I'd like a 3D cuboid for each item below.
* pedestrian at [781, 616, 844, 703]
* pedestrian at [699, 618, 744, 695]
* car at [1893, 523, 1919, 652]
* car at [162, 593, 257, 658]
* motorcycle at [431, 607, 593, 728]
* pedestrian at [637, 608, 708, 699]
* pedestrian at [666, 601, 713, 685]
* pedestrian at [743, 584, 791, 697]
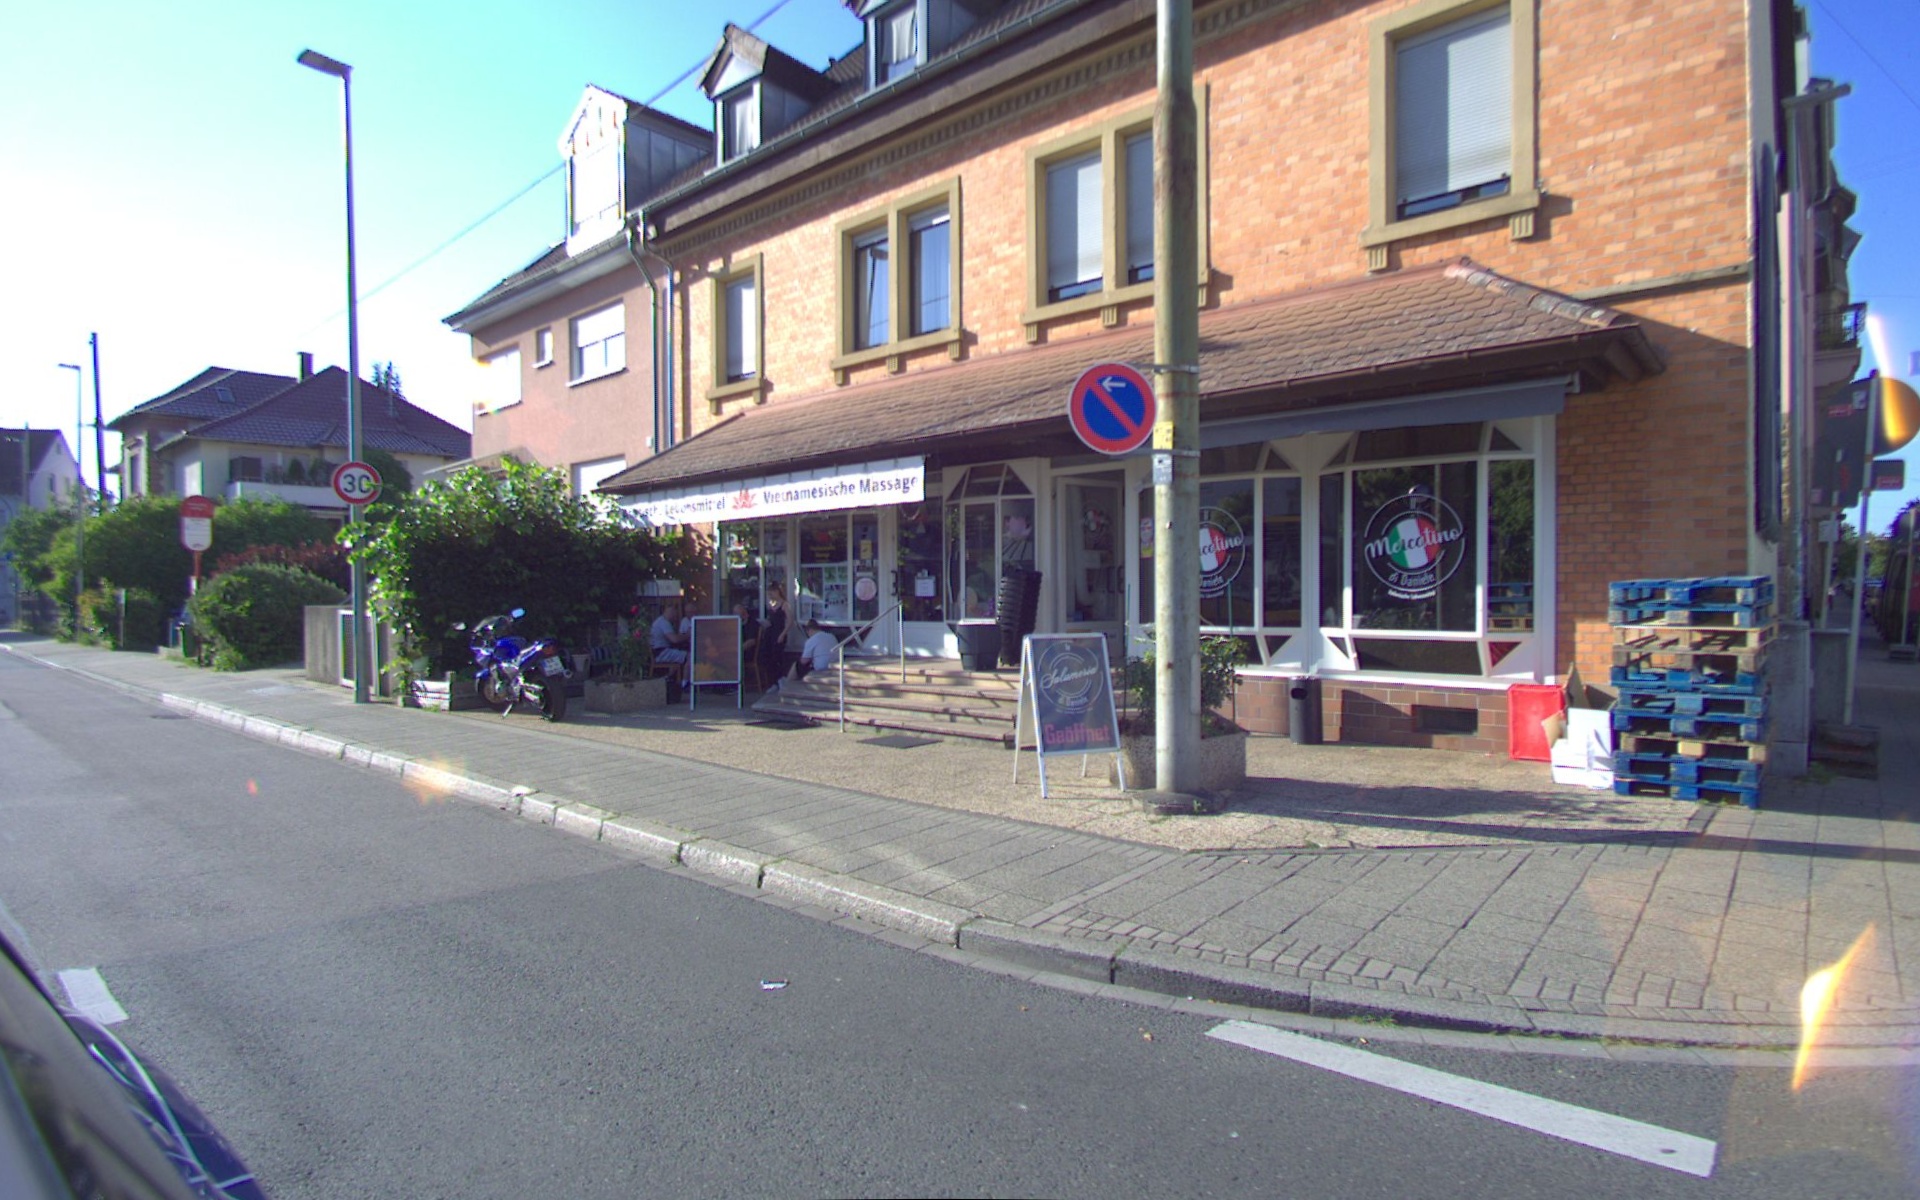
[{"bbox_3d":[-1.966,0.776,13.517,0.632,1.118,0.557,-1,0,43],"label":"pedestrian"},{"bbox_3d":[-3.421,0.798,14.503,0.382,1.055,0.520,-1,0,25],"label":"pedestrian"},{"bbox_3d":[23.113,-0.300,23.221,2.136,2.747,6.046,-1,0,40],"label":"car"},{"bbox_3d":[-23.802,0.802,32.063,3.672,1.828,1.682,0,-6,44],"label":"car"},{"bbox_3d":[-5.387,0.749,12.106,2.230,1.292,0.831,0,1,39],"label":"motorcycle"},{"bbox_3d":[-4.152,0.755,14.615,0.736,1.253,0.667,-1,0,-45],"label":"pedestrian"},{"bbox_3d":[-4.178,0.655,15.627,0.465,1.268,0.517,-1,0,43],"label":"pedestrian"},{"bbox_3d":[-2.747,0.562,14.404,0.503,1.572,0.459,0,0,44],"label":"pedestrian"}]
